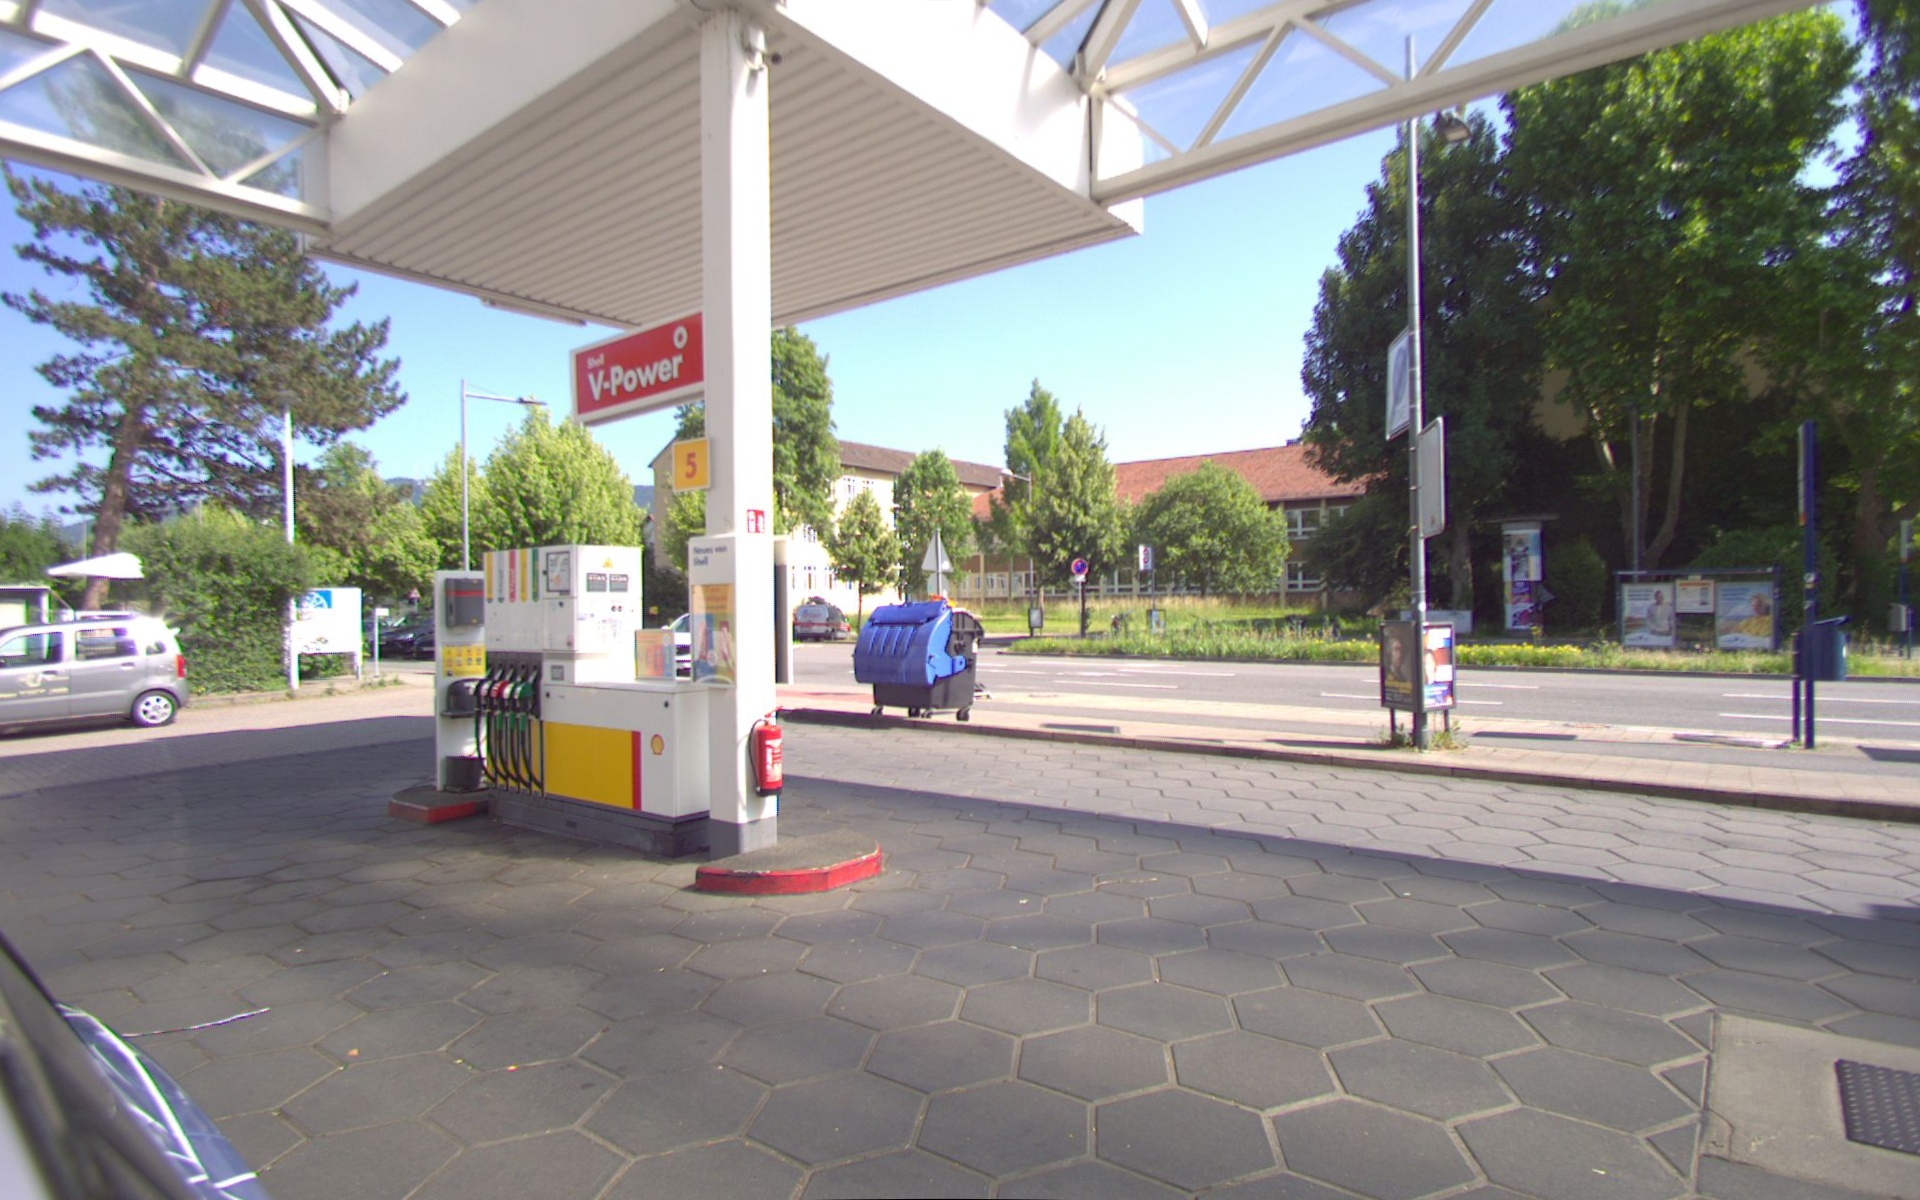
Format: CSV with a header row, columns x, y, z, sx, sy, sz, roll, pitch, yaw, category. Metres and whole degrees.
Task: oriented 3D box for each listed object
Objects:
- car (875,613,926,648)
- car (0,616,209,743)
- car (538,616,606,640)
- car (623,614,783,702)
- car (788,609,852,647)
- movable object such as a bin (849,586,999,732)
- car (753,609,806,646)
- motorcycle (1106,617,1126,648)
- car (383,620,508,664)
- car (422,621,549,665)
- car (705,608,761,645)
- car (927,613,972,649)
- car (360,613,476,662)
x,y,z,sx,sy,sz,roll,pitch,yaw,category
-2.601,1.347,45.190,1.856,1.471,4.222,1,-2,2,car
-13.339,1.122,14.682,1.691,1.629,3.614,-1,1,40,car
-23.616,1.692,61.713,1.867,1.401,3.701,0,-2,20,car
-5.537,1.200,22.439,1.939,1.719,4.296,-2,-1,8,car
-6.606,1.335,48.231,1.860,1.735,4.213,0,-2,9,car
-0.441,0.715,12.740,1.336,1.701,1.325,-1,-3,40,movable object such as a bin
-8.797,1.348,49.602,1.855,1.735,4.226,1,-2,-1,car
5.888,1.208,38.040,0.552,1.122,1.750,-1,-1,15,motorcycle
-18.585,1.482,36.795,1.862,1.493,4.210,0,-2,12,car
-16.335,1.478,35.100,1.862,1.428,4.210,0,-2,12,car
-11.090,1.322,49.709,1.855,1.735,4.226,1,-2,-1,car
-0.408,1.339,43.392,1.718,1.471,4.222,0,-2,2,car
-20.436,1.392,38.388,1.684,1.733,4.395,0,-1,6,car
